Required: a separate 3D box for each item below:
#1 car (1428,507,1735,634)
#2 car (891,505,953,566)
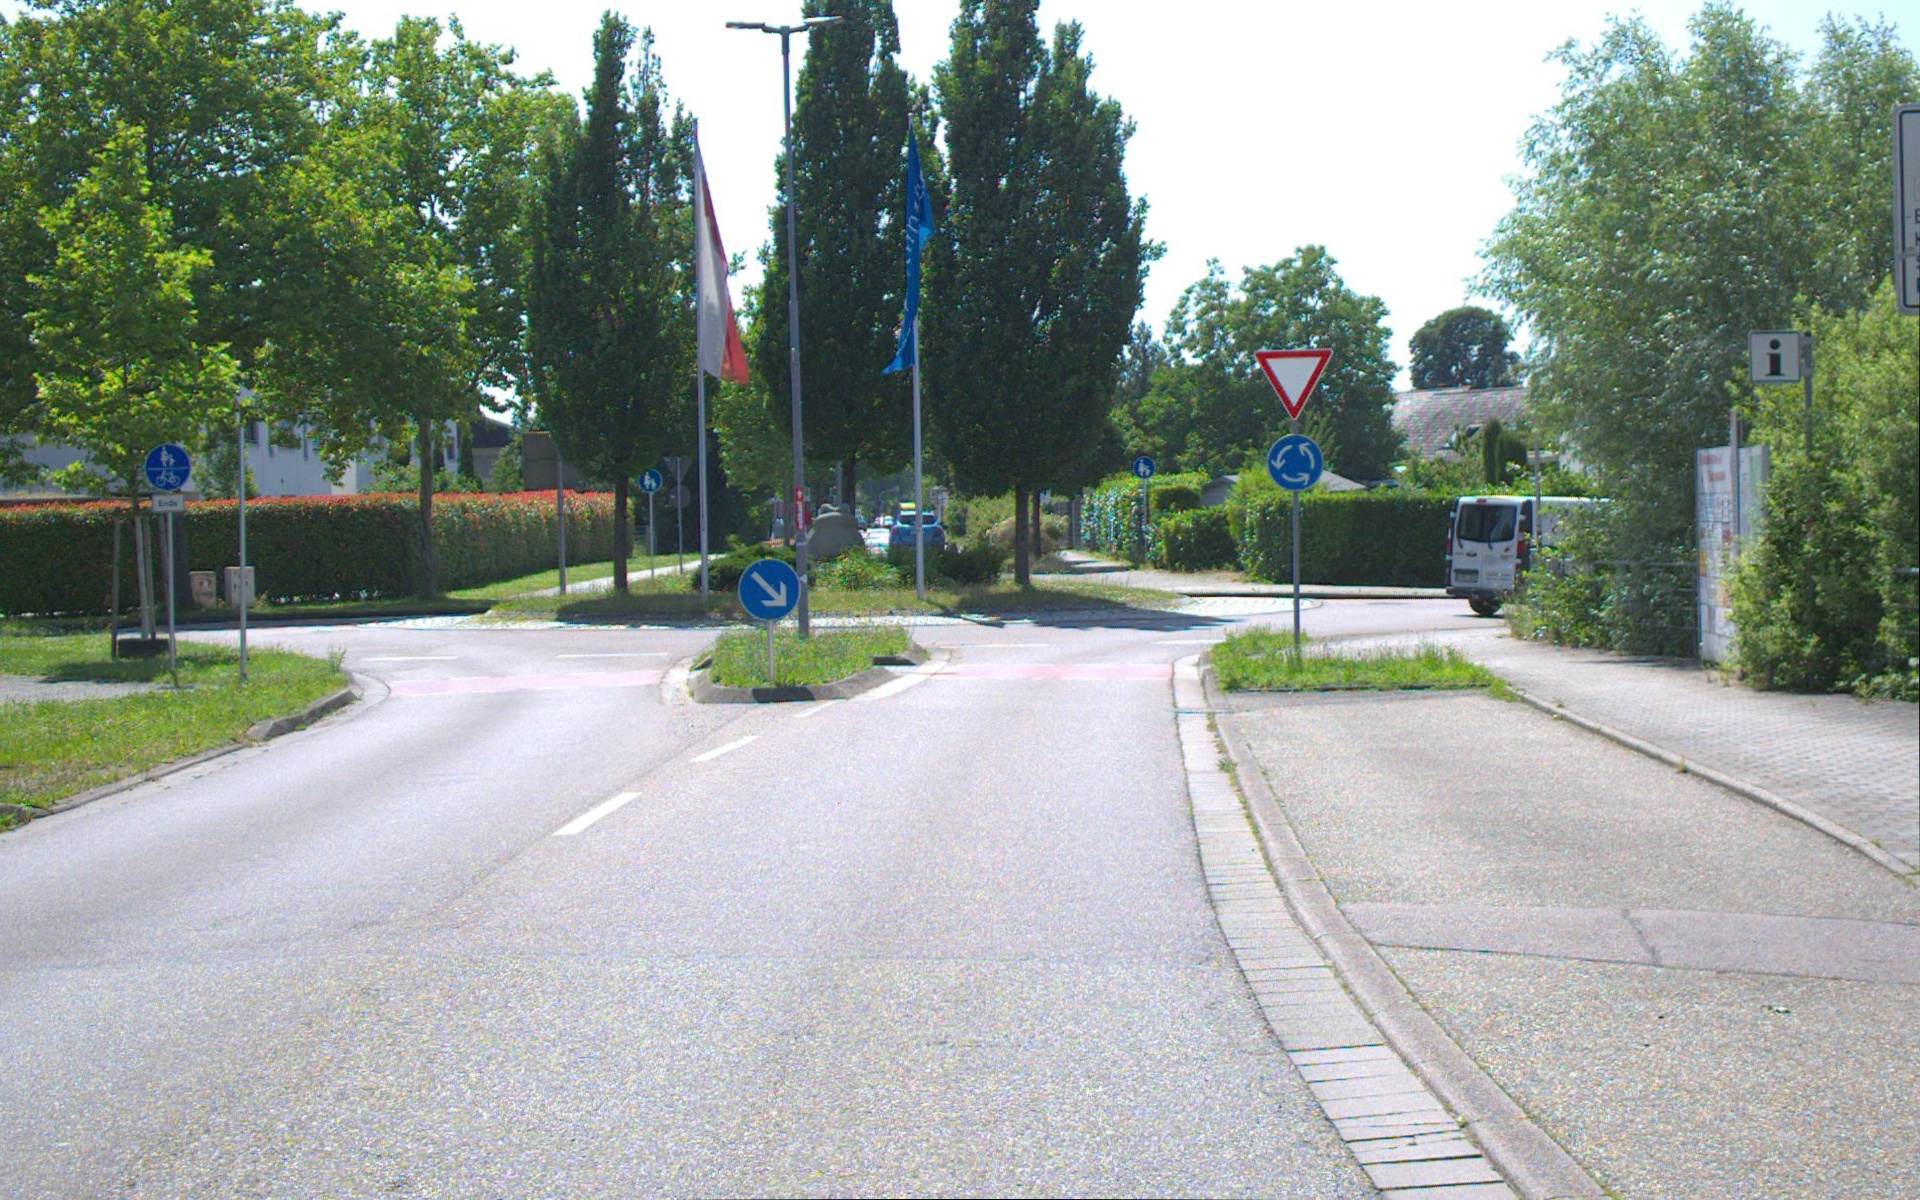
[{"bbox_3d":[10.348,-0.501,57.087,5.133,2.007,2.134,0,1,-38],"label":"car"},{"bbox_3d":[-1.230,-2.052,109.572,1.923,1.879,4.000,0,1,-1],"label":"car"}]
